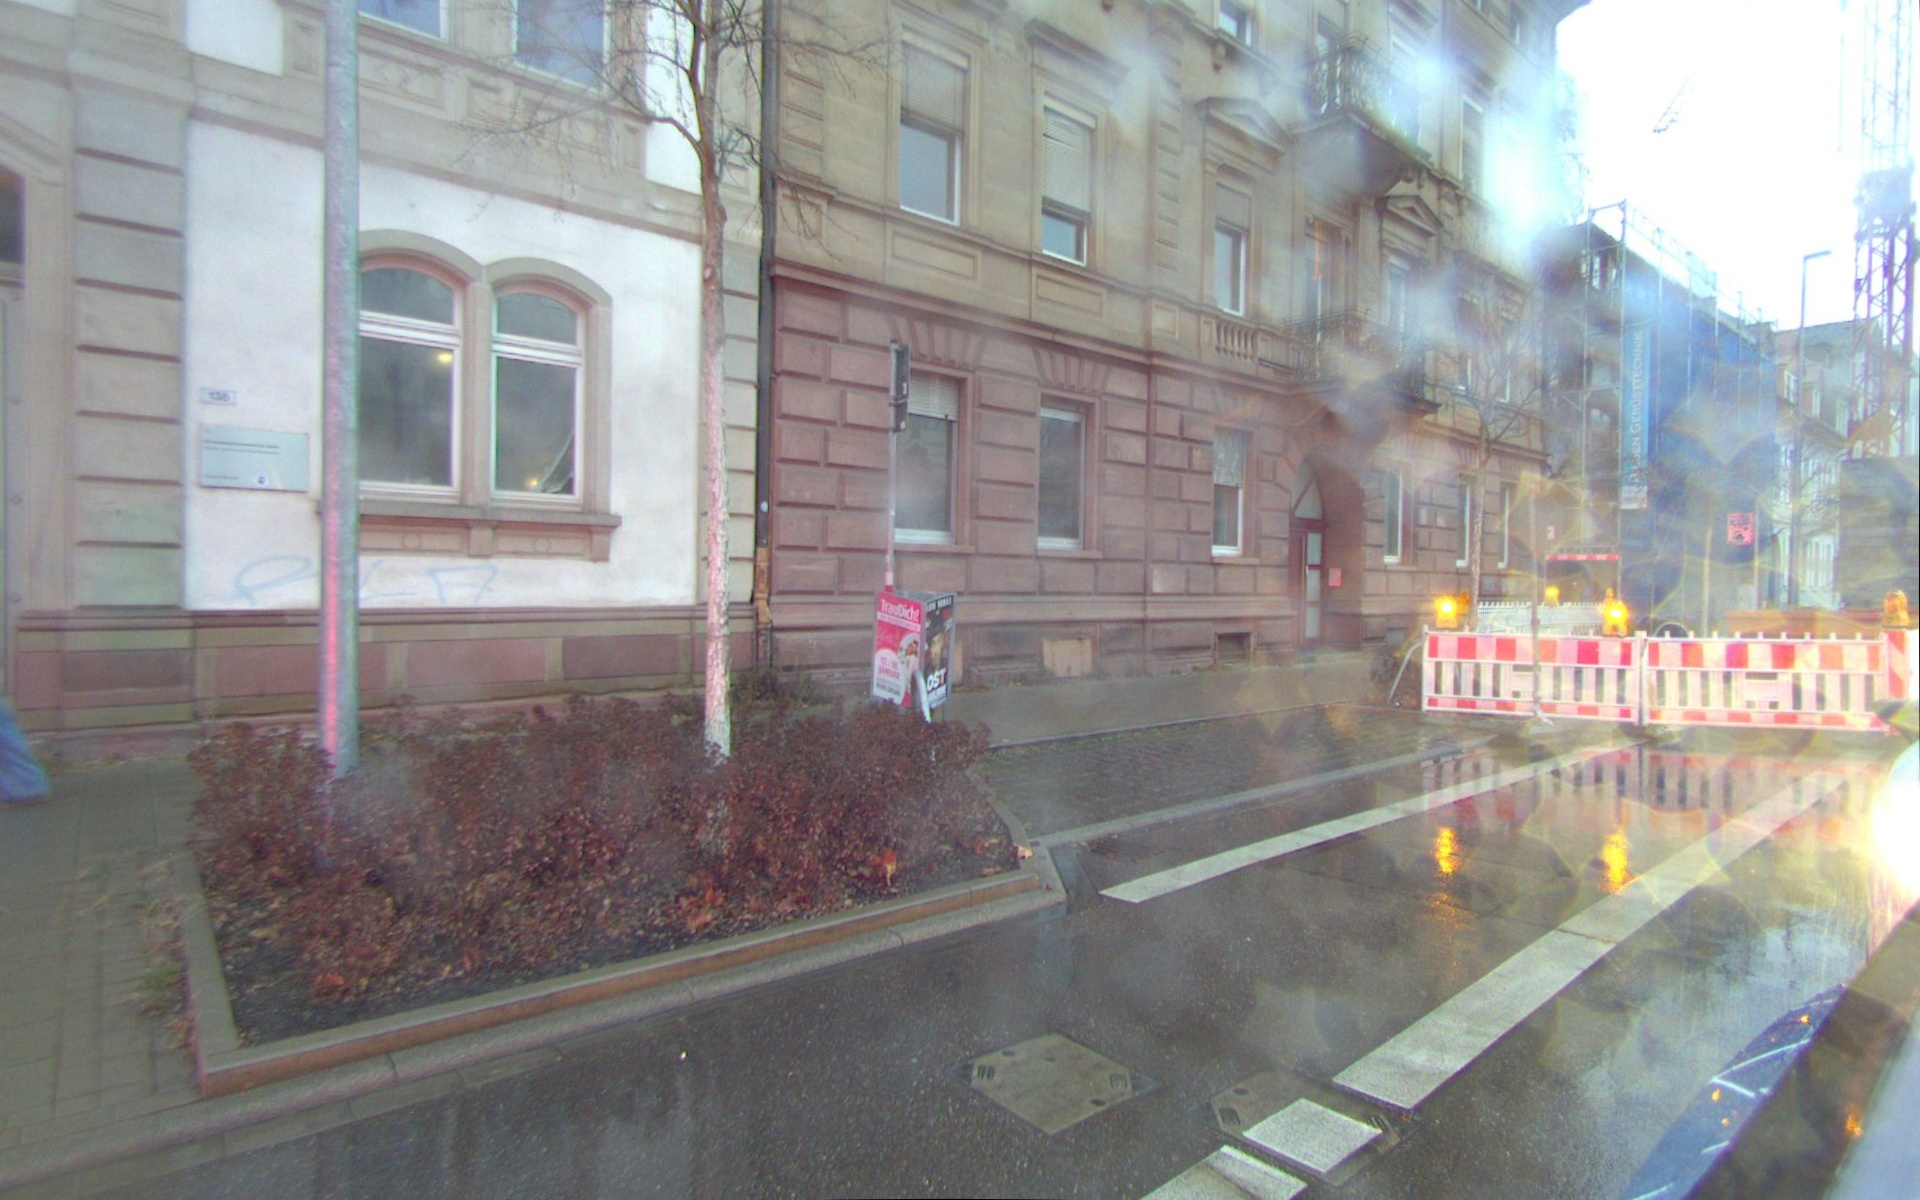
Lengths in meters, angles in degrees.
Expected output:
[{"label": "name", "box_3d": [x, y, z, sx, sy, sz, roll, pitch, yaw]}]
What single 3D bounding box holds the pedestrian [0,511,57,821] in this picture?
[{"label": "pedestrian", "box_3d": [-5.328, 0.319, 5.259, 0.913, 1.564, 0.870, 0, 2, -40]}]
